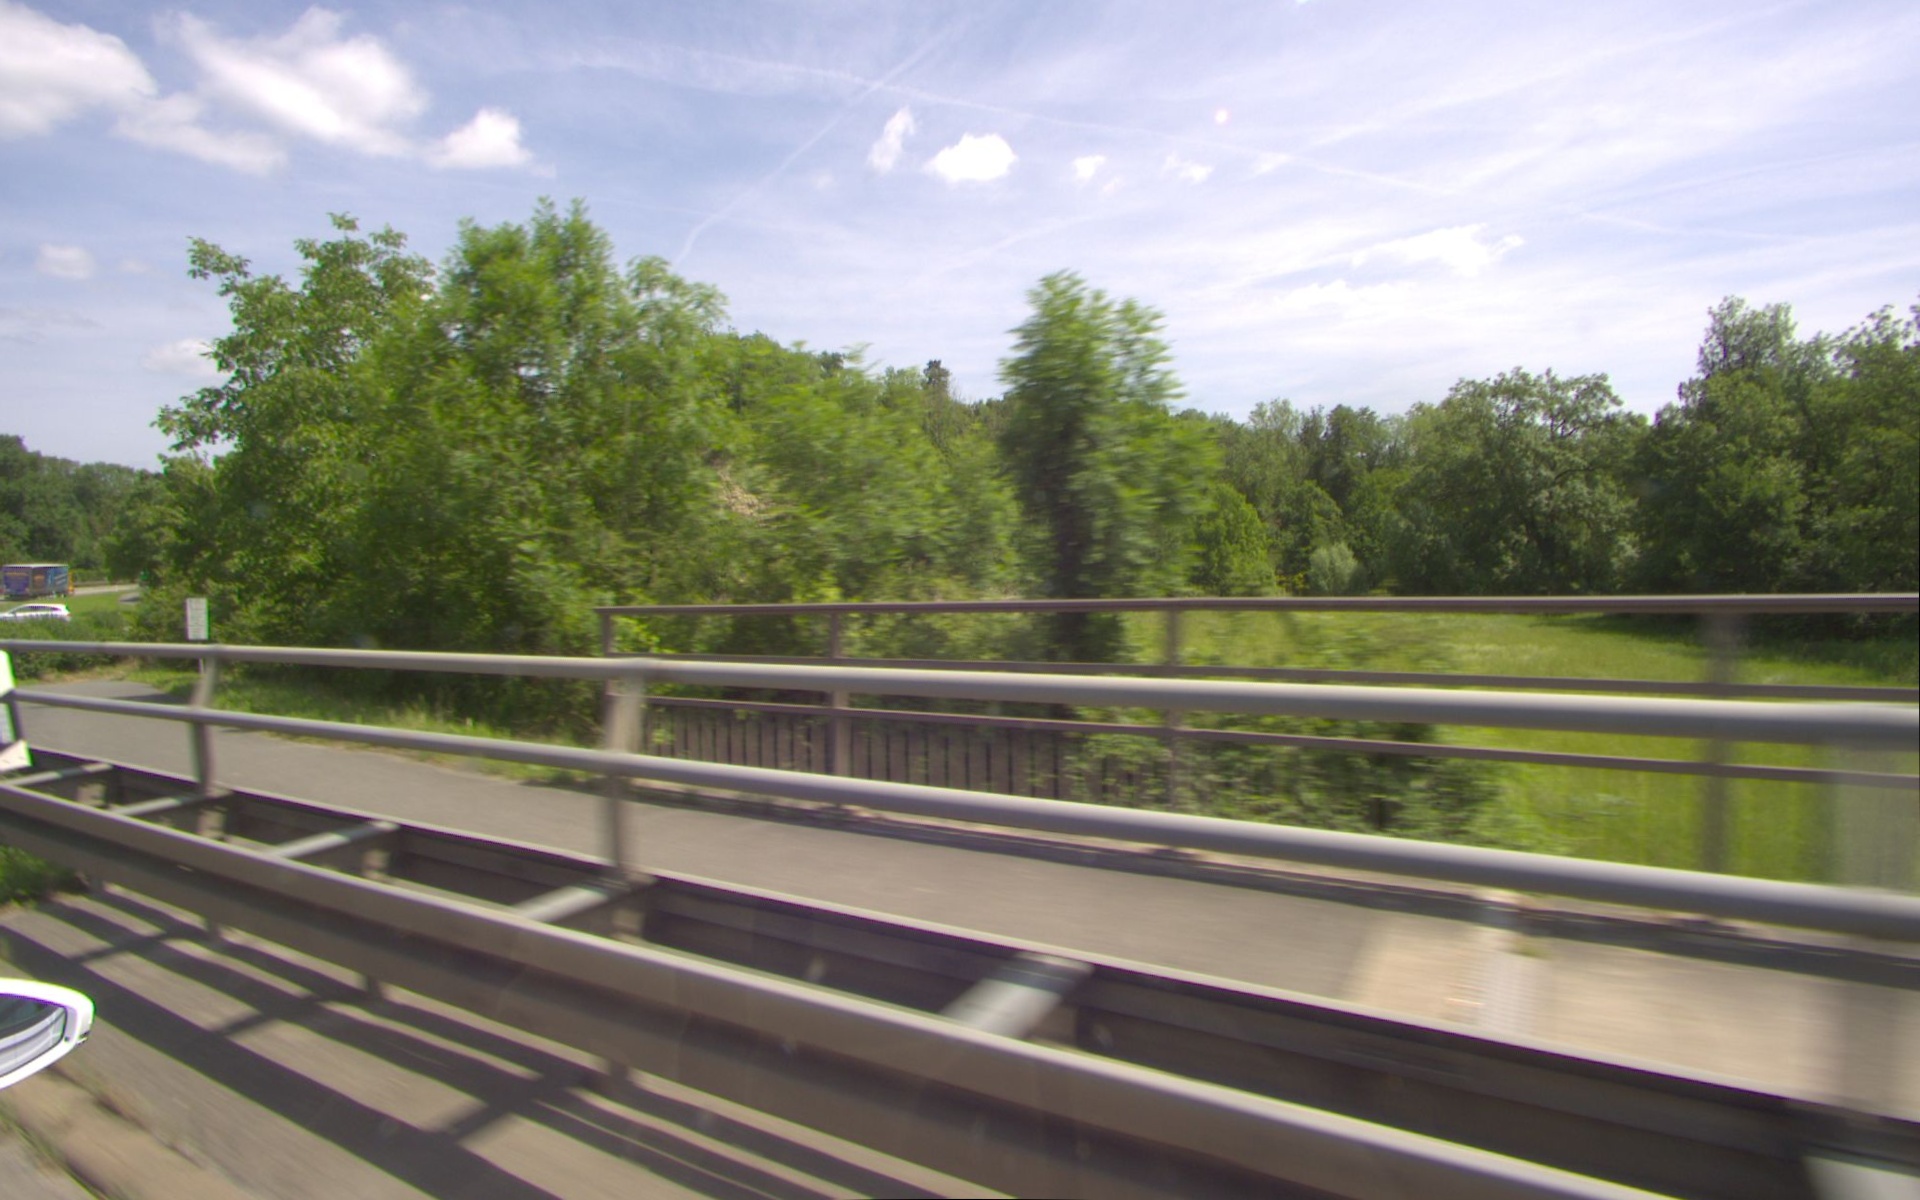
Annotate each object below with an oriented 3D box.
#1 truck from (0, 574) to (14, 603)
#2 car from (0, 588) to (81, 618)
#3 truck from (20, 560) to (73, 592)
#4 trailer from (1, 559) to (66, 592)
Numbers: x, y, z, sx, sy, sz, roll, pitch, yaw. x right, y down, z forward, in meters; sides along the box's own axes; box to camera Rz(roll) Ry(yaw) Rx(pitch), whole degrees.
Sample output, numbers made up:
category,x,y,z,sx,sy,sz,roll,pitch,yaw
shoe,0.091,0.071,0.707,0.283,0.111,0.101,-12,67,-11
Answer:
category,x,y,z,sx,sy,sz,roll,pitch,yaw
truck,-100.560,-1.195,103.007,2.821,2.987,7.071,0,0,-27
car,-58.764,0.216,63.508,4.400,1.740,1.980,1,-2,-45
truck,-110.797,-2.830,121.559,3.213,3.734,6.215,0,0,-27
trailer,-108.805,-2.799,117.716,3.213,3.734,9.207,0,0,-27
